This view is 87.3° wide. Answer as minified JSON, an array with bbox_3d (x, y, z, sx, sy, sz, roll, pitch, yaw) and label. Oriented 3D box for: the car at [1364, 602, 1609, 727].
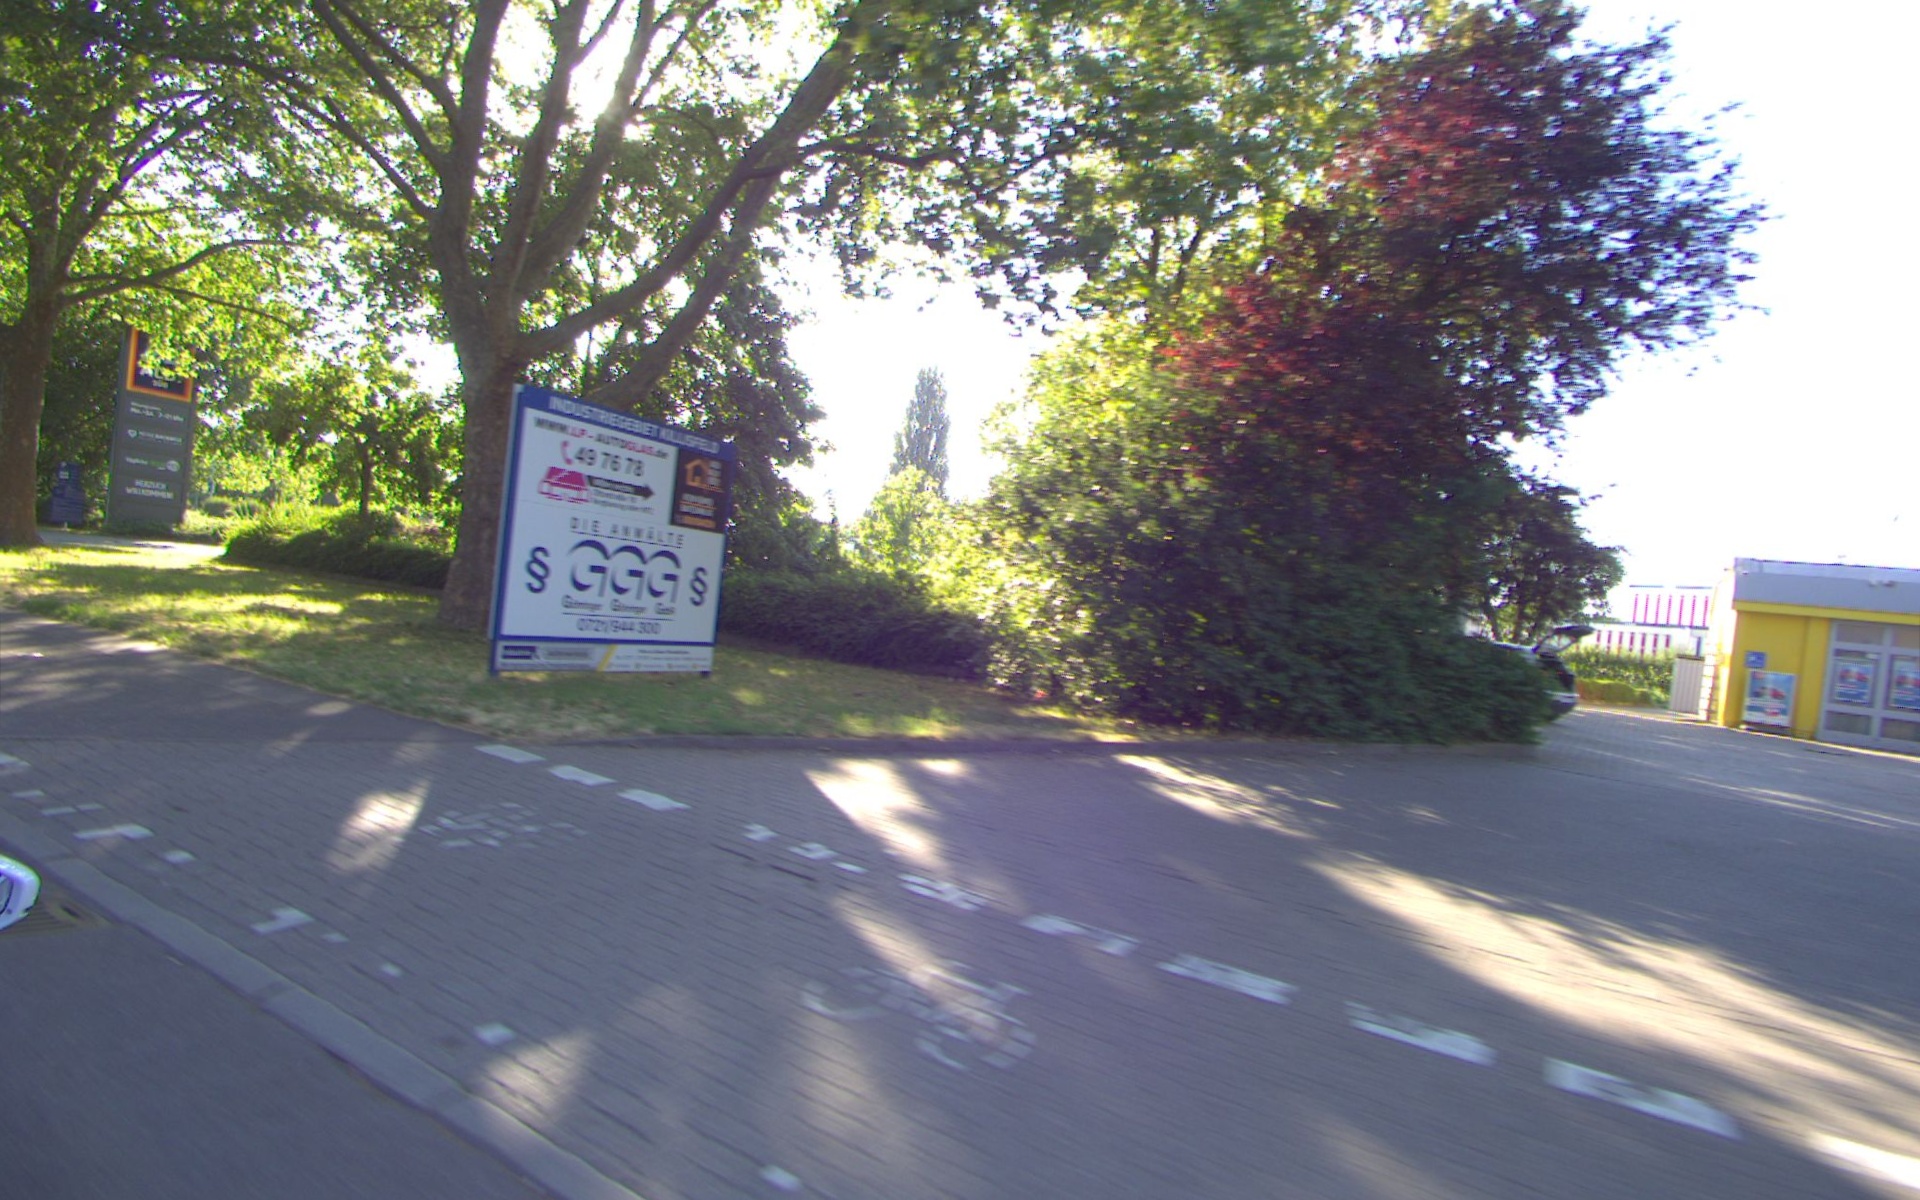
[{"bbox_3d":[10.914,1.290,21.097,1.839,1.963,3.957,5,3,-37],"label":"car"}]
